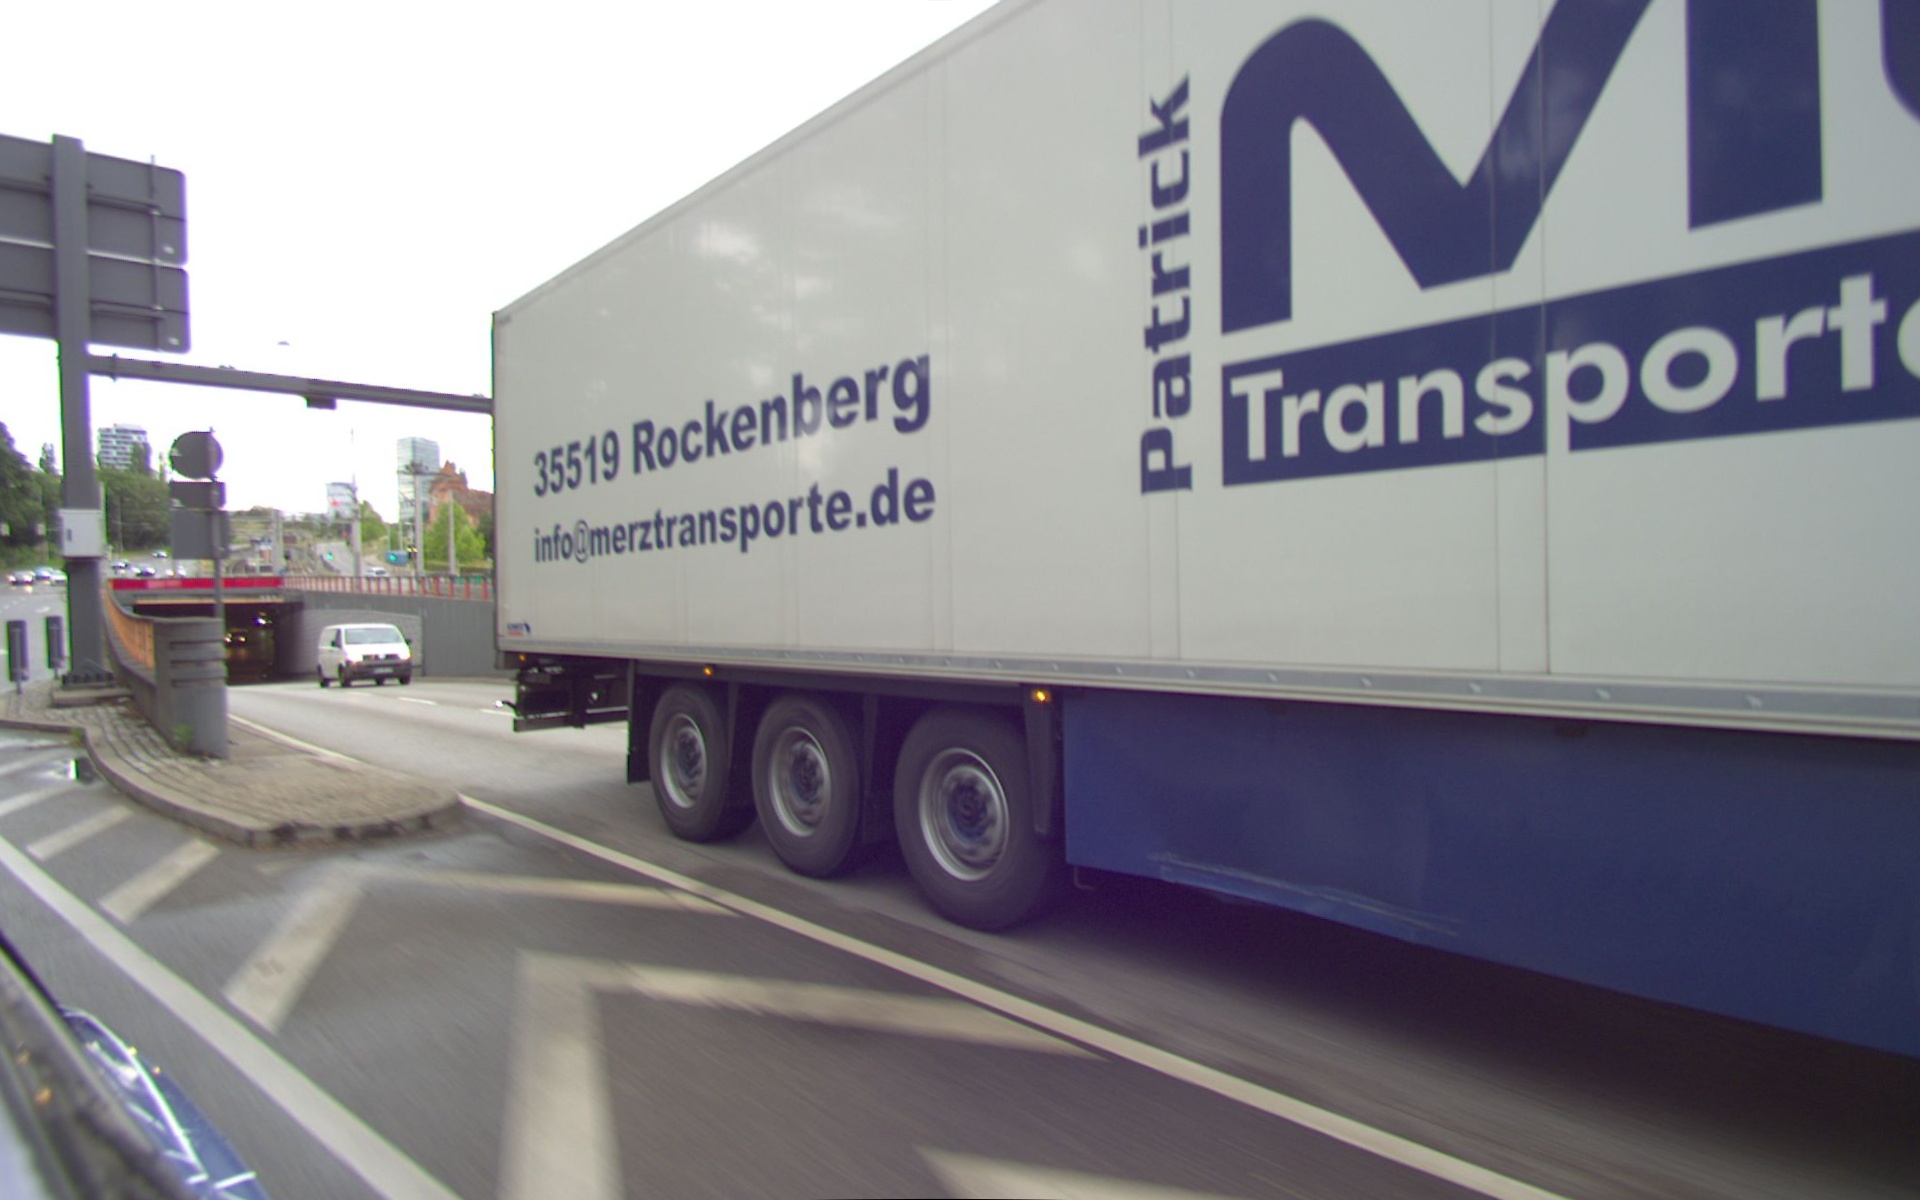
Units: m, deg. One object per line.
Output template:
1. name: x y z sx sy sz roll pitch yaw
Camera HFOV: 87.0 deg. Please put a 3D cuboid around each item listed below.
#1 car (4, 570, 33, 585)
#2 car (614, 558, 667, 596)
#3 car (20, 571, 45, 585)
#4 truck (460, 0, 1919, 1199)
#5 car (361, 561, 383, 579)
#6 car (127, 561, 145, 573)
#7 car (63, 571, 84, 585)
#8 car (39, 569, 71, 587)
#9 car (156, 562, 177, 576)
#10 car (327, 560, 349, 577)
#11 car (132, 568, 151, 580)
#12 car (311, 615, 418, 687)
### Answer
1. car: -98.321 -2.384 105.735 1.860 1.482 4.017 -2 1 -38
2. car: -25.620 -1.869 81.041 1.969 2.853 5.727 1 1 -41
3. car: -108.247 -2.567 118.155 1.860 1.482 4.017 -2 1 -38
4. truck: 1.166 -0.825 4.893 2.730 4.228 13.043 0 1 -43
5. car: -71.880 -3.719 123.710 1.967 2.028 4.011 -2 5 -36
6. car: -107.676 -4.311 132.216 1.774 1.482 4.008 -2 4 -39
7. car: -104.867 -2.621 119.727 1.775 1.523 4.006 -2 1 -40
8. car: -93.140 -2.276 104.147 1.710 1.599 4.013 -1 4 -31
9. car: -102.215 -3.995 130.381 1.710 1.599 4.013 -1 4 -31
10. car: -79.792 -4.039 129.775 1.965 2.028 4.014 -1 5 -26
11. car: -107.184 -3.449 132.620 1.860 1.482 4.017 -2 1 -38
12. car: -18.968 1.597 32.118 1.970 2.042 4.691 -2 -1 -42
